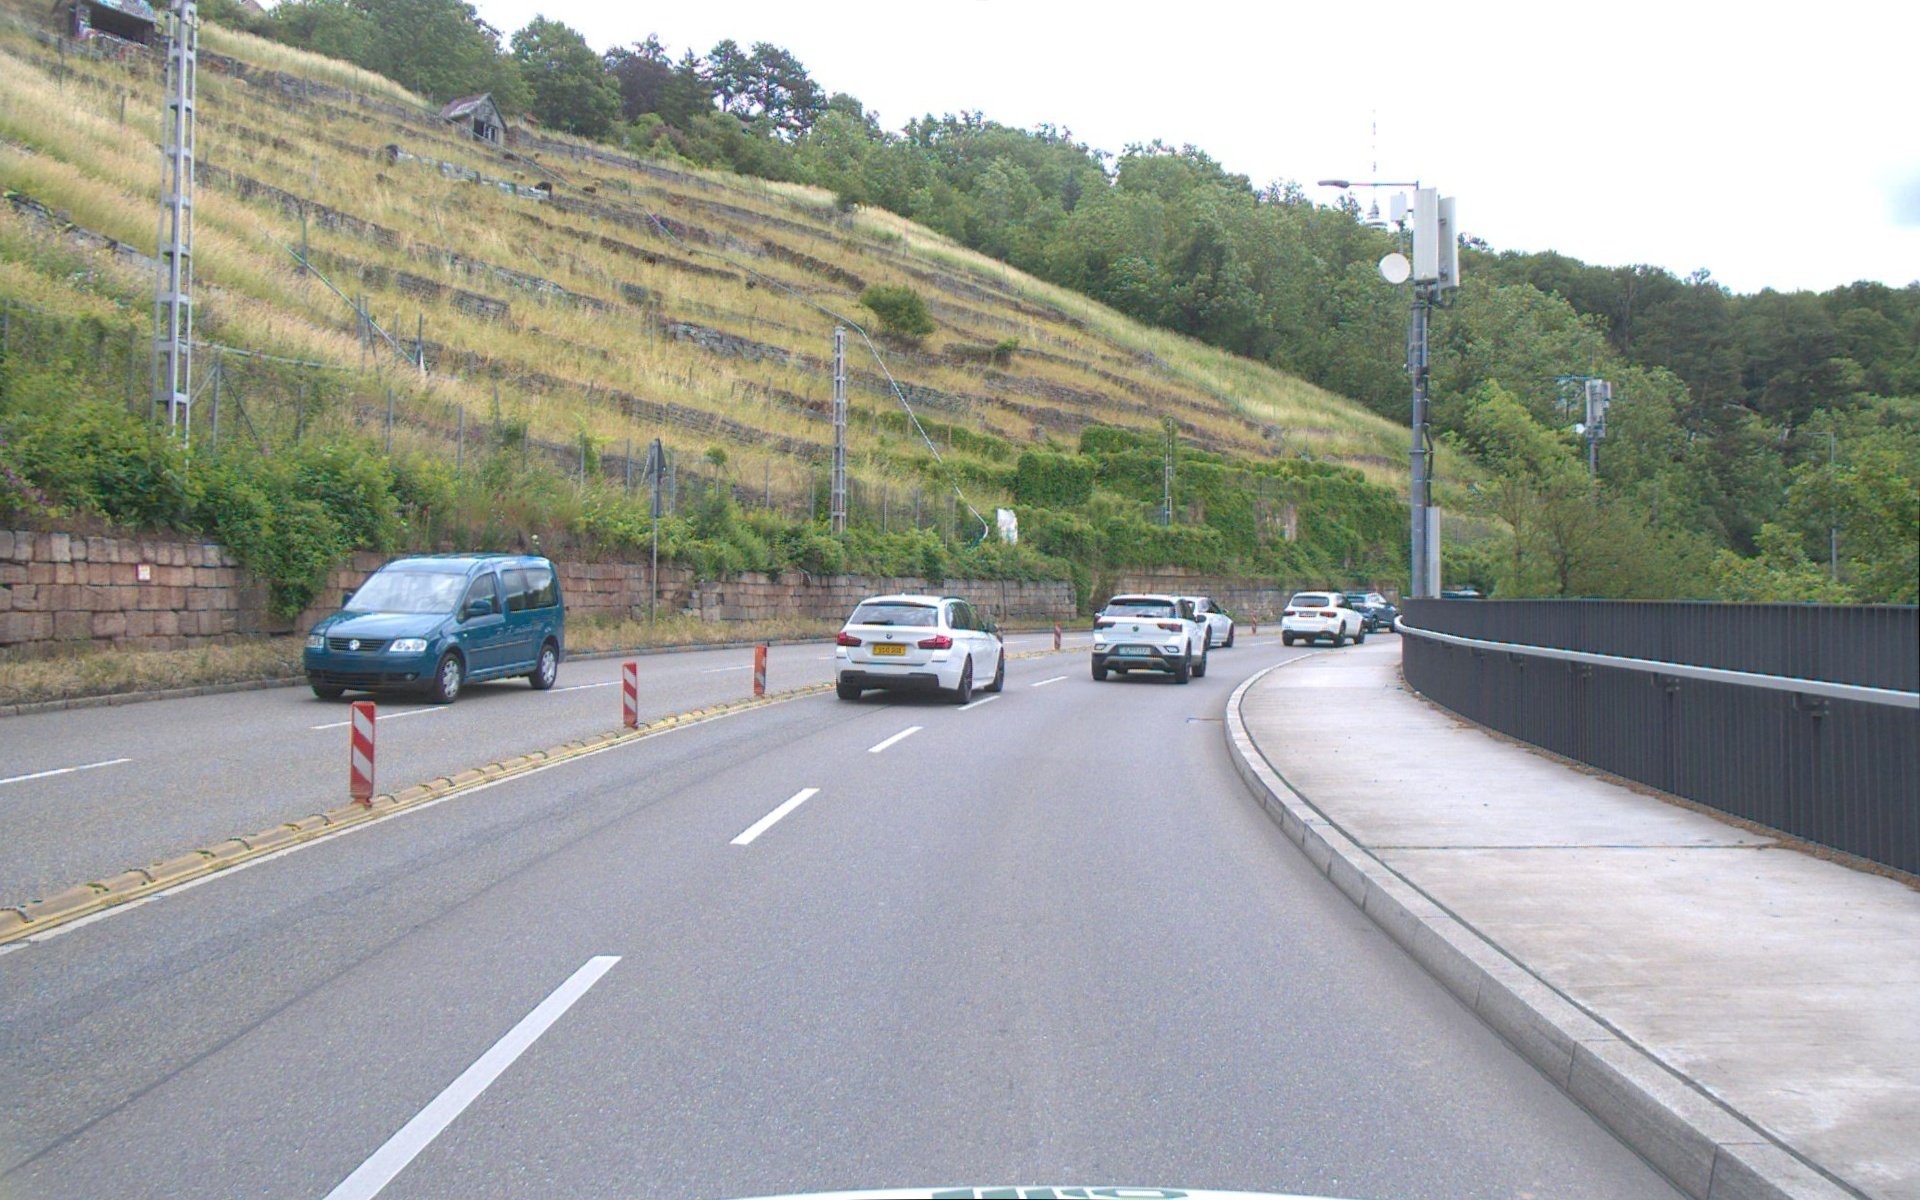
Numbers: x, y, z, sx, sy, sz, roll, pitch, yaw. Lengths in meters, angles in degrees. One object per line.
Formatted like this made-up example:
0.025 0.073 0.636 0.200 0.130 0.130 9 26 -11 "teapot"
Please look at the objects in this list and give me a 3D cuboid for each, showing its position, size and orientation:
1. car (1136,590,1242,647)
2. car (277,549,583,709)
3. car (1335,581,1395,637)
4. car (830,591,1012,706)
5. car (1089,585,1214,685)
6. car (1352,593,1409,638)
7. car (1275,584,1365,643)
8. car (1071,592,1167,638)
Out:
6.581 0.560 47.100 1.952 1.529 4.667 0 -2 21 "car"
-6.753 0.313 21.704 1.811 1.813 4.738 2 1 9 "car"
16.057 0.387 65.530 1.952 2.049 4.002 -3 -2 18 "car"
-0.456 0.634 24.140 1.789 1.485 4.490 1 0 10 "car"
3.643 0.595 30.967 1.789 1.633 4.004 3 1 14 "car"
18.486 0.714 72.559 1.831 1.793 3.998 -2 -4 23 "car"
11.211 0.466 51.356 1.953 1.748 4.111 -1 -2 24 "car"
5.665 0.503 58.414 1.815 1.438 4.410 2 2 28 "car"
